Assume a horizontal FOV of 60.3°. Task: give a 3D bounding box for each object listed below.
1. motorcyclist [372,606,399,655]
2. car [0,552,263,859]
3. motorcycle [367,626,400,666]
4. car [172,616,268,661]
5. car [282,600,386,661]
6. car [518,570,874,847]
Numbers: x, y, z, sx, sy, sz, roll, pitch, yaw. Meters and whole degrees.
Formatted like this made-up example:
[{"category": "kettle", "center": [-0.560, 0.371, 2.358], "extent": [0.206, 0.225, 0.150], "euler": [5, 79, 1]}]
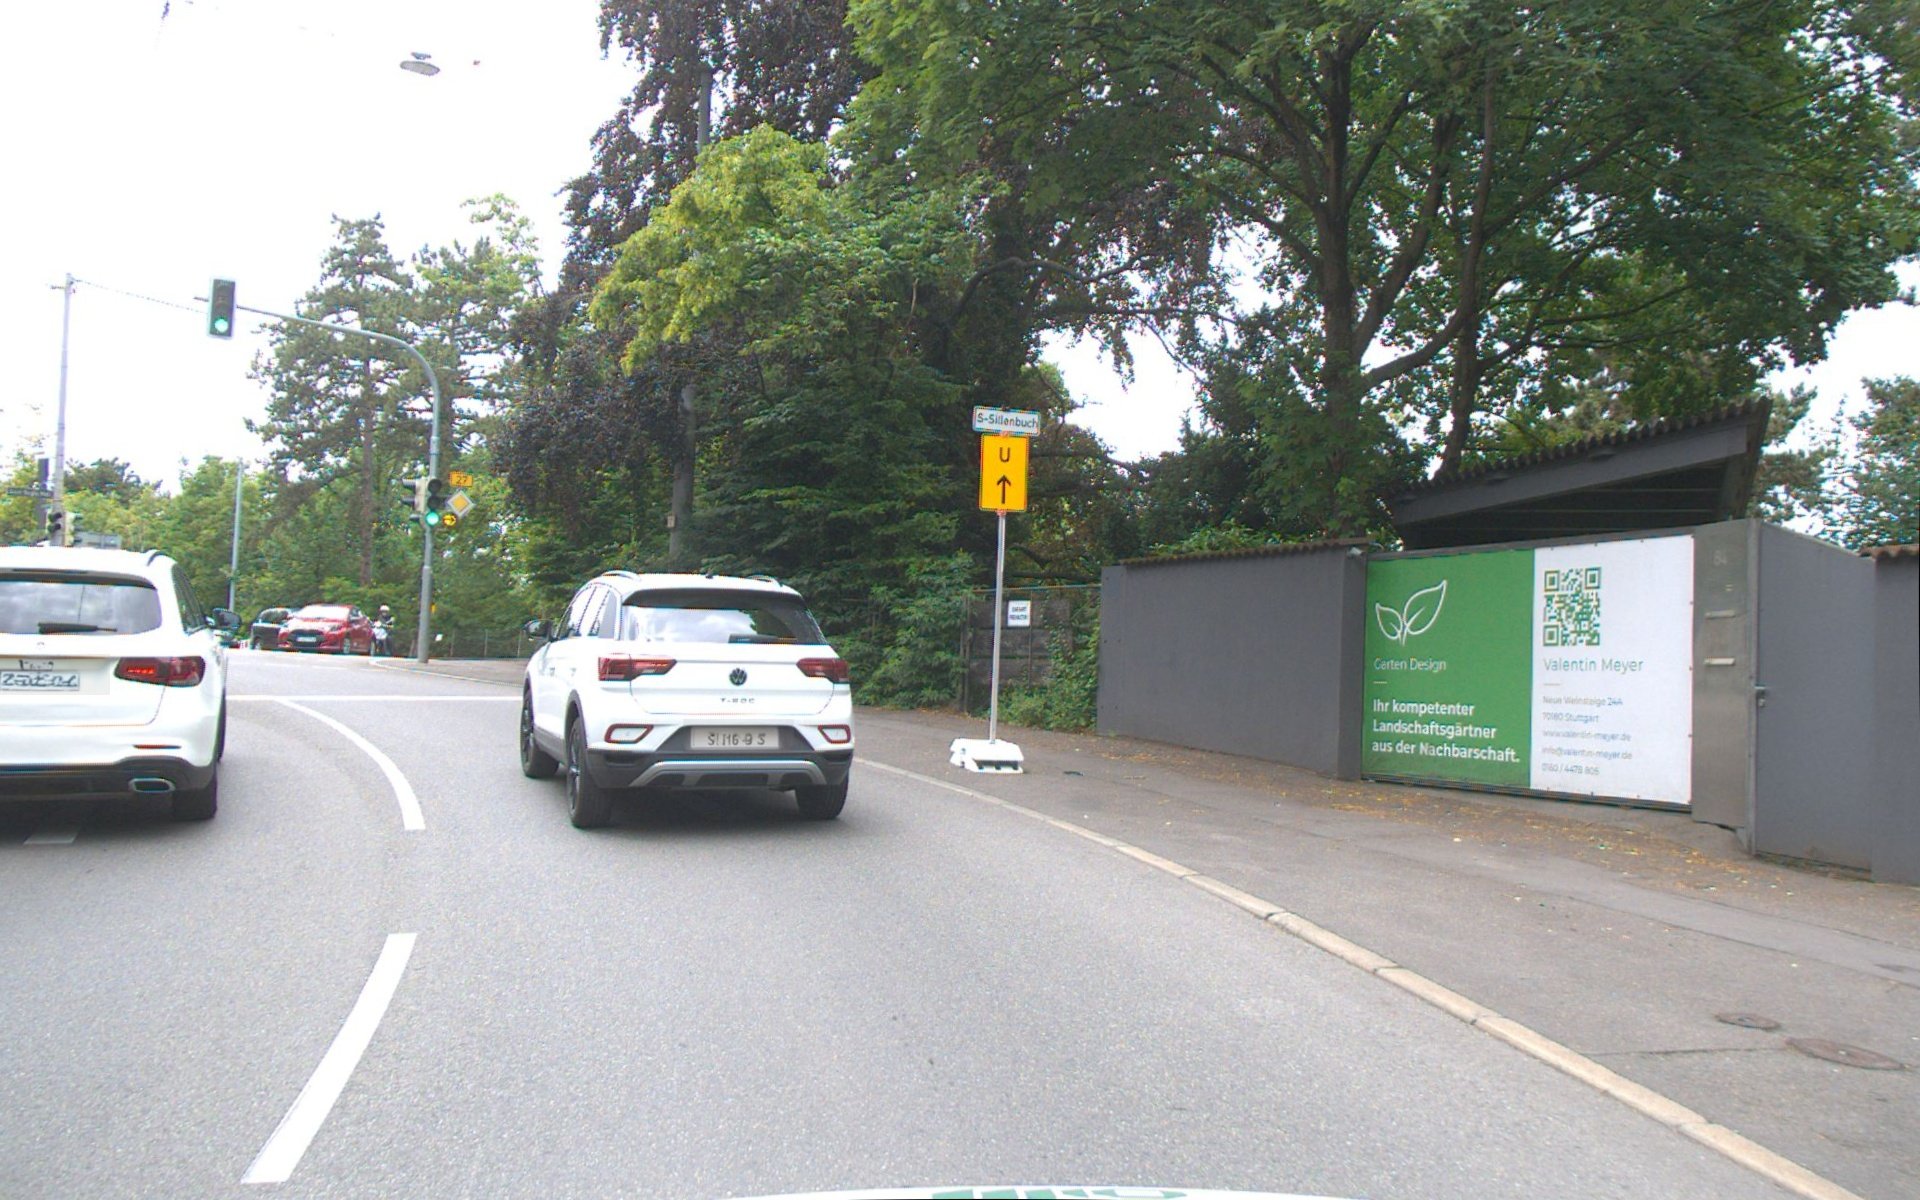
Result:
[{"category": "motorcyclist", "center": [-17.430, 0.939, 50.175], "extent": [0.588, 1.455, 0.756], "euler": [1, -2, -8]}, {"category": "car", "center": [-5.813, 0.504, 11.100], "extent": [1.831, 1.633, 4.644], "euler": [0, 2, -20]}, {"category": "motorcycle", "center": [-17.483, 1.398, 50.208], "extent": [0.587, 1.172, 1.578], "euler": [1, -2, -7]}, {"category": "car", "center": [-26.722, 1.408, 59.677], "extent": [3.930, 1.512, 1.711], "euler": [-2, -5, 43]}, {"category": "car", "center": [-17.305, 0.893, 45.864], "extent": [1.635, 1.494, 3.950], "euler": [2, -4, -5]}, {"category": "car", "center": [-2.069, 0.596, 11.788], "extent": [1.728, 1.580, 4.313], "euler": [1, 1, -20]}]
